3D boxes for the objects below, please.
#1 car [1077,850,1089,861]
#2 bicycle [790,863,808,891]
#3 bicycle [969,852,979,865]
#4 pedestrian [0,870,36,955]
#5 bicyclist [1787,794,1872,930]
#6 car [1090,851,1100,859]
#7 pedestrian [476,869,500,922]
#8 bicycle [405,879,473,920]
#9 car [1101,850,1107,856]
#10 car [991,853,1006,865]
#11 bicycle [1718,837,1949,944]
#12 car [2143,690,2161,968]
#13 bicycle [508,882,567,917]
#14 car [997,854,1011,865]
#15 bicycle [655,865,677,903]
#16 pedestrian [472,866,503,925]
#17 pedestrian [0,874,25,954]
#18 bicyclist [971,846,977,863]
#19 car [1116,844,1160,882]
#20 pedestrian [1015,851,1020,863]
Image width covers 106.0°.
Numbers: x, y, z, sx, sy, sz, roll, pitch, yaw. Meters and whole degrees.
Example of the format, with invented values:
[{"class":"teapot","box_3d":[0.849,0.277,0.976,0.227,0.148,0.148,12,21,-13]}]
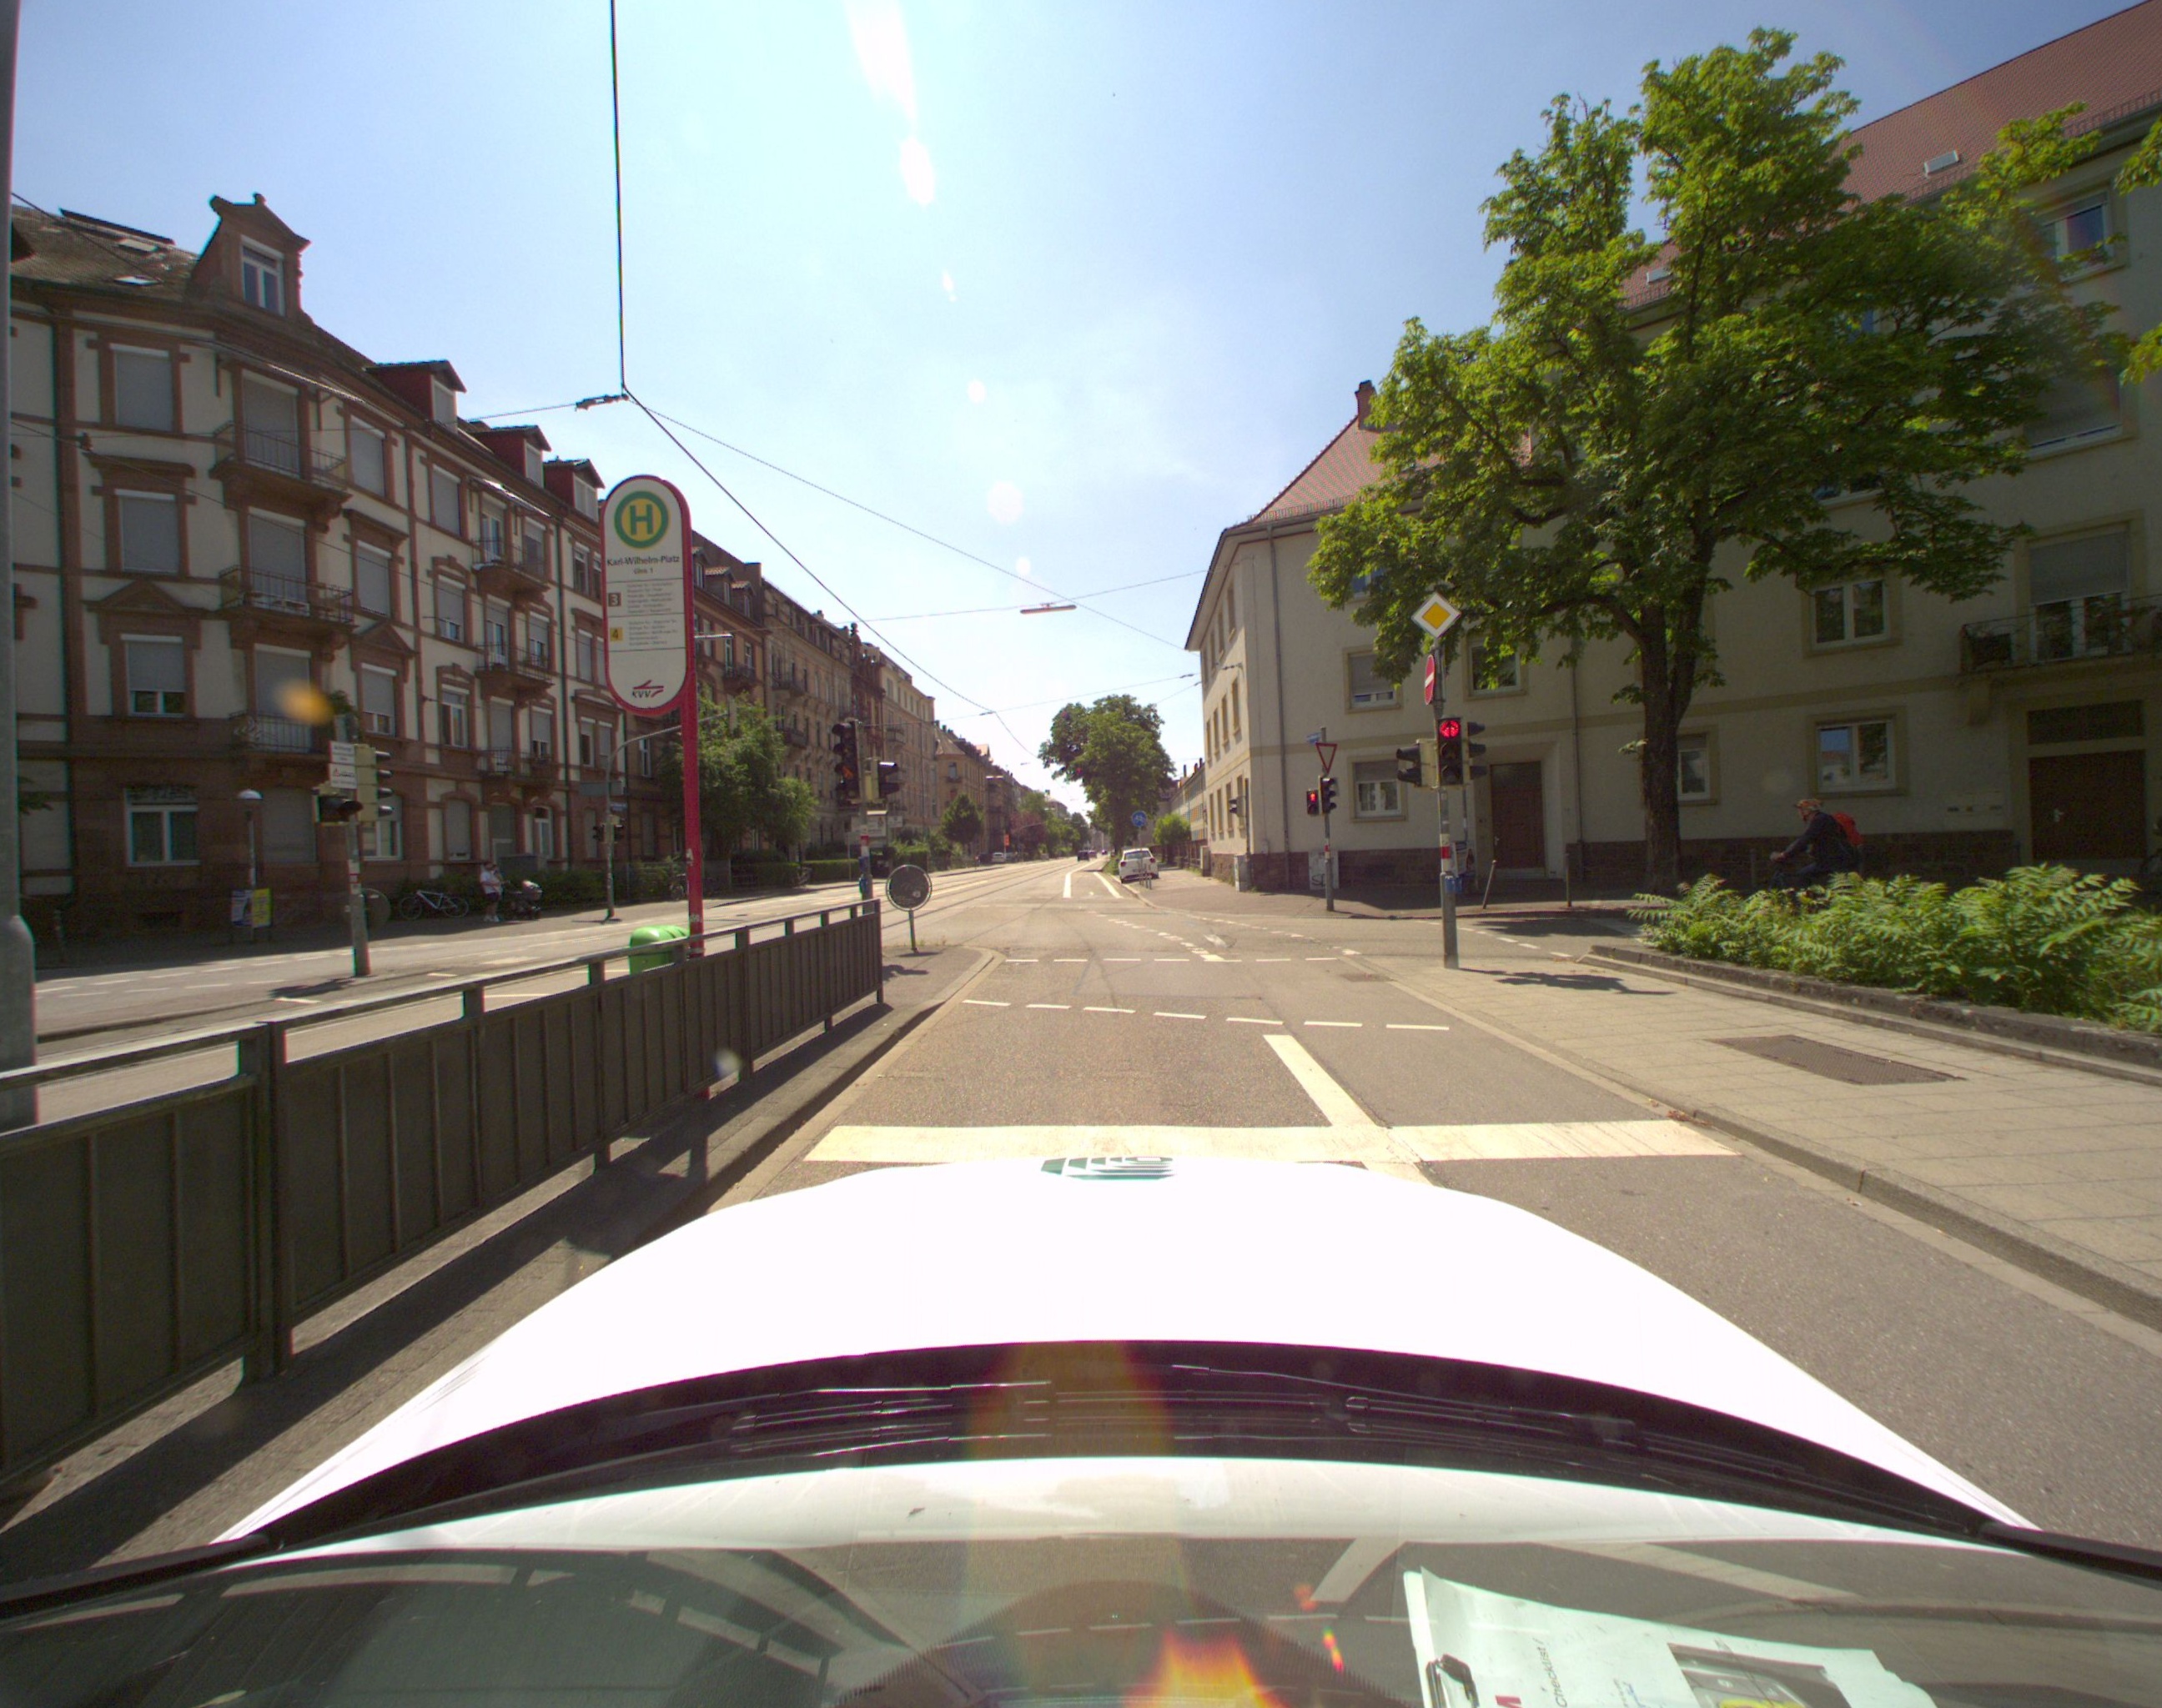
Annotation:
[{"class":"car","box_3d":[0.274,0.199,115.029,1.519,1.444,3.367,-4,0,3]},{"class":"bicycle","box_3d":[-14.409,1.146,41.588,0.594,1.356,2.421,-1,0,-24]},{"class":"bicycle","box_3d":[-11.591,0.484,88.258,0.575,1.388,2.502,-1,0,2]},{"class":"pedestrian","box_3d":[-23.470,1.270,17.759,0.565,1.825,0.631,-1,-1,-20]},{"class":"bicyclist","box_3d":[9.432,0.105,10.285,0.687,1.646,0.584,-2,-1,36]},{"class":"car","box_3d":[2.704,0.193,155.094,1.741,1.472,3.940,-5,0,2]},{"class":"pedestrian","box_3d":[-17.424,1.197,23.923,0.510,1.516,0.464,-1,-1,-40]},{"class":"bicycle","box_3d":[-19.270,1.355,24.463,1.522,1.169,0.362,-1,1,-25]},{"class":"car","box_3d":[6.925,-0.289,249.812,1.623,1.472,3.563,-5,0,0]},{"class":"car","box_3d":[-11.778,0.714,116.131,1.679,1.472,3.937,-5,0,0]},{"class":"bicycle","box_3d":[9.408,0.445,10.313,2.060,1.236,0.584,-2,-1,35]},{"class":"car","box_3d":[12.556,-0.319,5.938,2.010,2.590,5.784,-2,0,-37]},{"class":"bicycle","box_3d":[-16.196,1.350,24.286,1.410,1.013,0.384,1,-2,-38]},{"class":"car","box_3d":[-11.810,0.854,124.559,1.623,1.472,3.563,-5,0,0]},{"class":"bicycle","box_3d":[-15.871,1.115,31.202,0.617,1.395,2.289,-1,0,-24]},{"class":"pedestrian","box_3d":[-17.034,1.178,23.368,0.657,1.615,0.464,-1,2,-40]},{"class":"pedestrian","box_3d":[-24.239,1.332,18.228,0.508,1.768,0.525,-1,-1,-20]},{"class":"bicyclist","box_3d":[-11.604,0.048,88.202,0.540,1.763,0.498,-1,-1,1]},{"class":"car","box_3d":[2.574,0.394,37.460,1.741,1.472,3.940,-5,0,2]},{"class":"pedestrian","box_3d":[-9.228,0.443,118.115,0.675,1.727,0.678,-1,-1,1]}]
